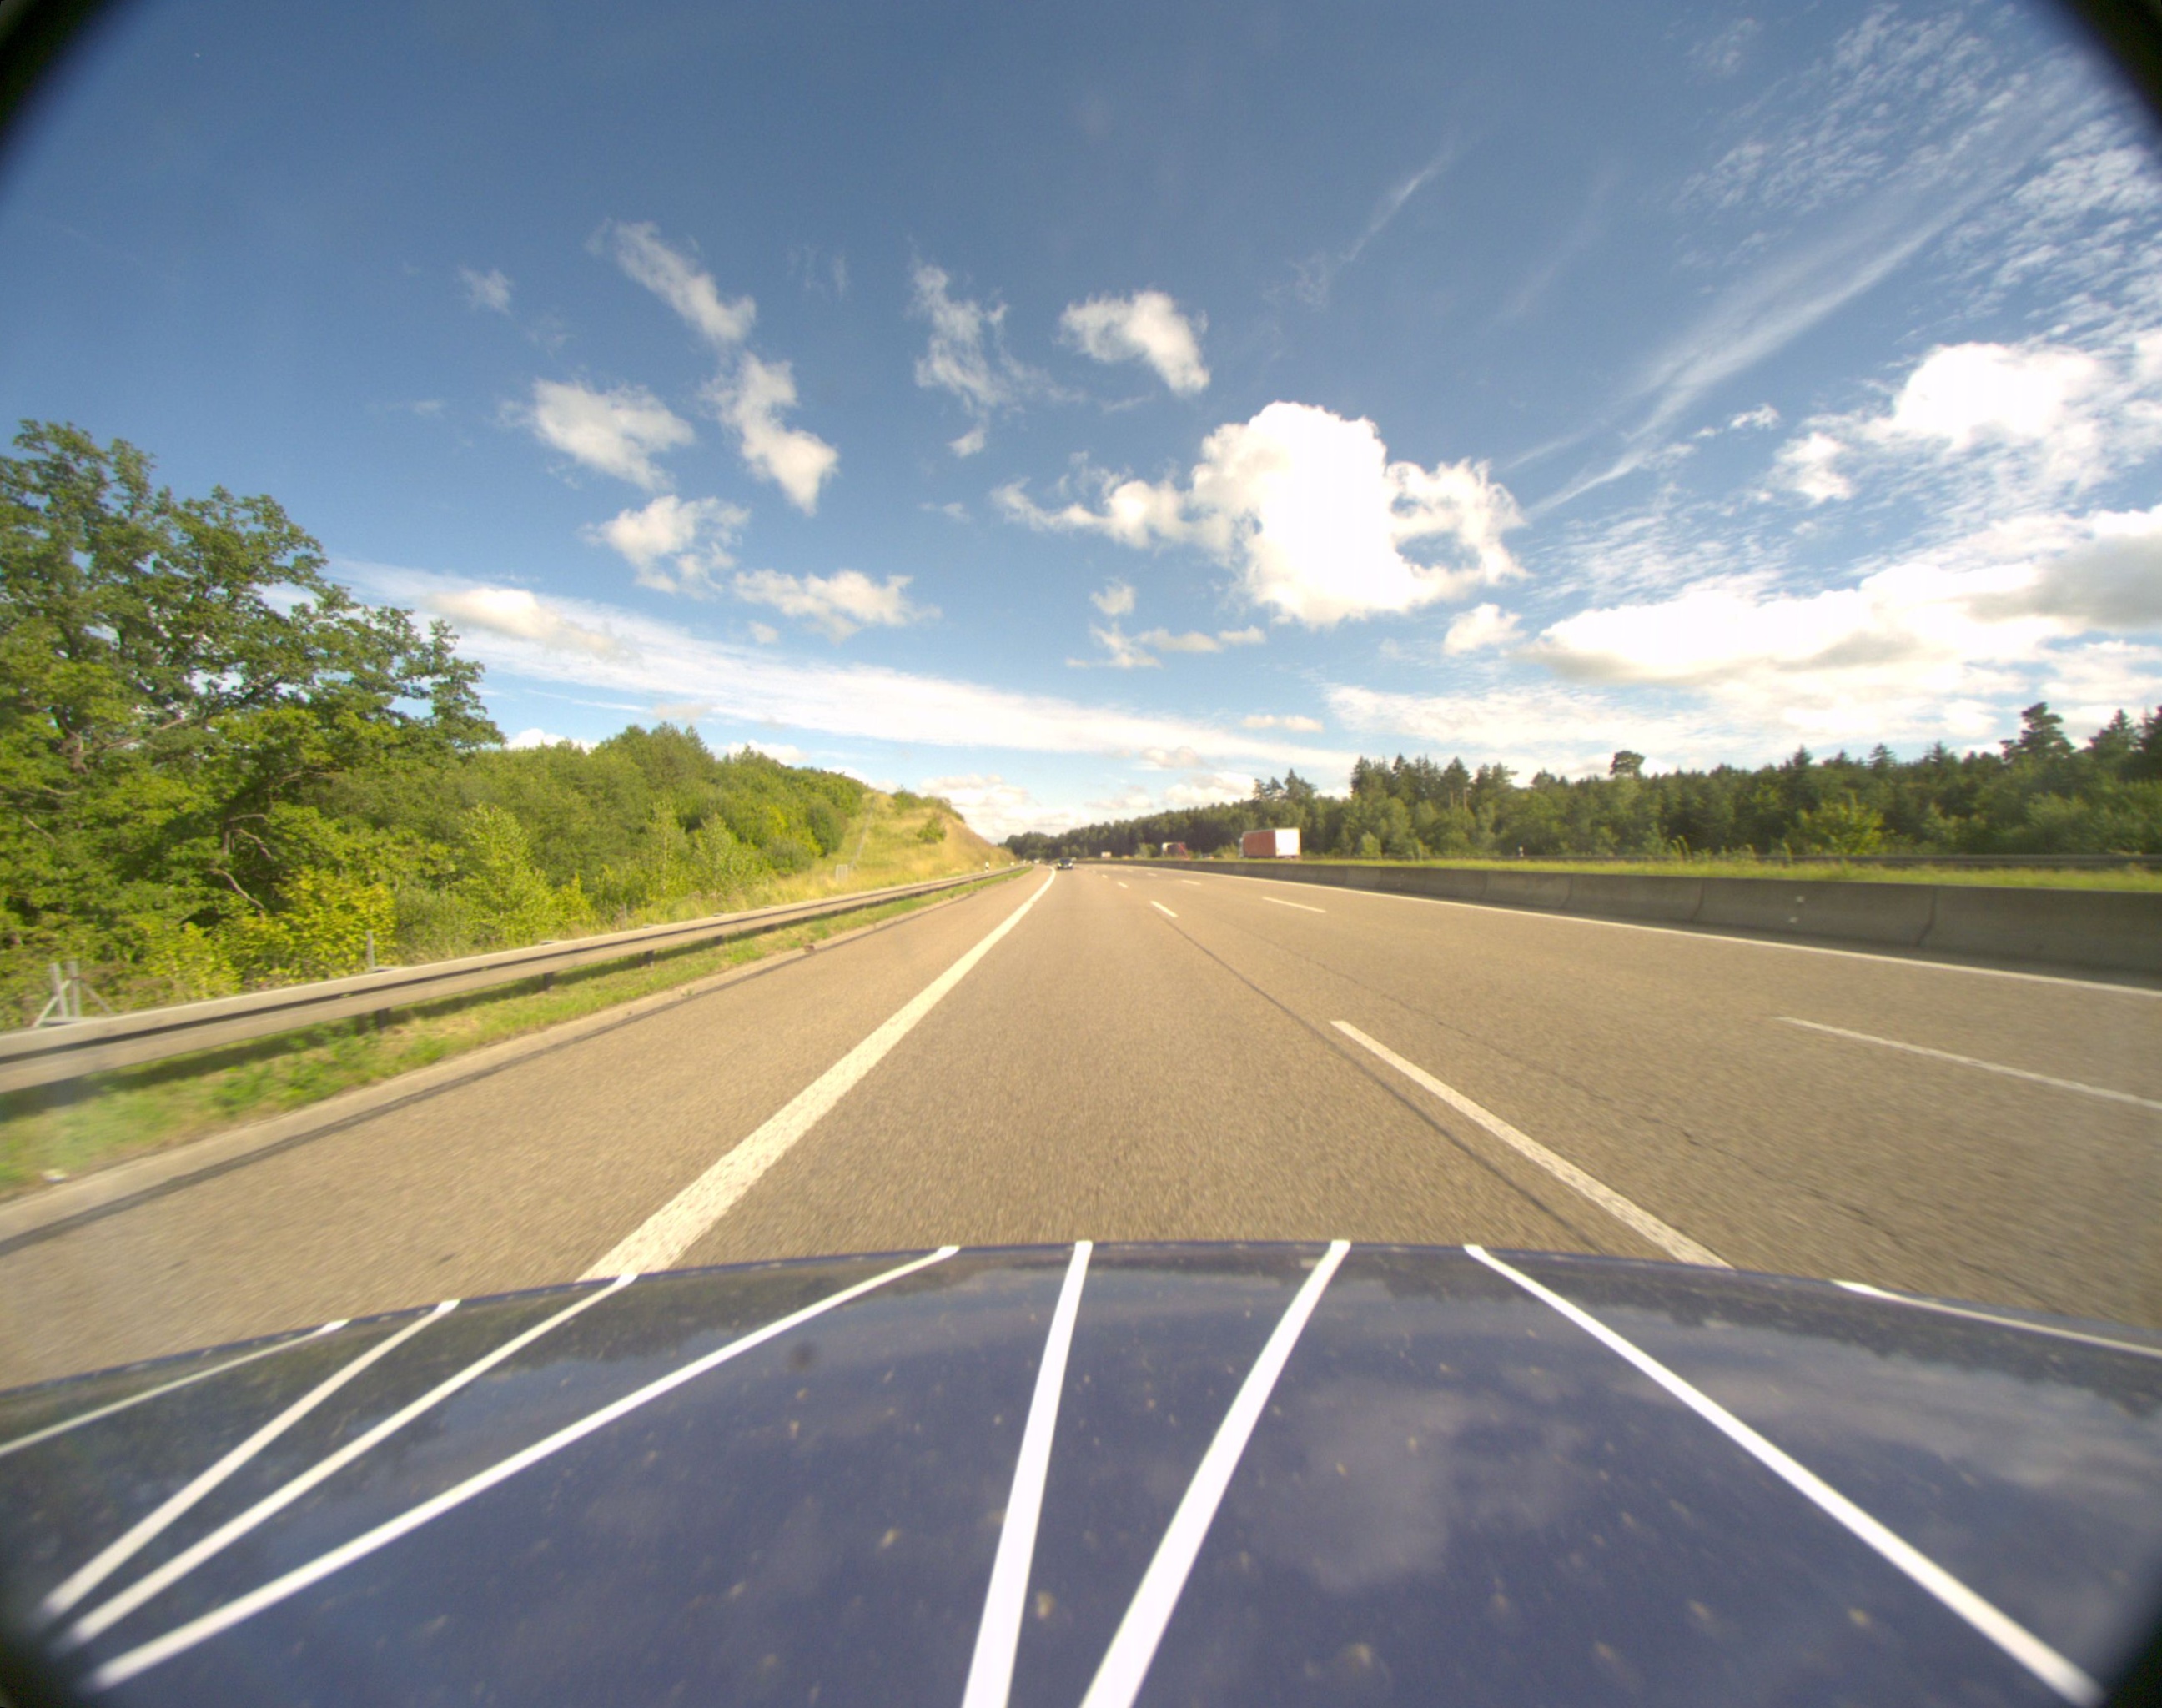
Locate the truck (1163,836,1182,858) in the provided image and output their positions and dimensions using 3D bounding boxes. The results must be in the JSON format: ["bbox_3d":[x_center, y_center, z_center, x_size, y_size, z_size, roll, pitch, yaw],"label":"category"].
[{"bbox_3d":[18.880,-1.510,157.278,2.810,4.366,5.463,-2,0,-2],"label":"truck"}]

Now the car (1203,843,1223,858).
[{"bbox_3d":[18.415,-0.538,106.119,1.999,2.002,3.999,-2,0,-1],"label":"car"}]

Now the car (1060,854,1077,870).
[{"bbox_3d":[-1.534,0.953,92.963,1.999,1.827,3.998,-2,1,-3],"label":"car"}]

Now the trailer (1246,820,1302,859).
[{"bbox_3d":[22.164,-1.590,88.097,3.029,4.085,12.789,-2,0,-1],"label":"trailer"}]

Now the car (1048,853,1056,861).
[{"bbox_3d":[-7.542,0.713,197.086,1.999,2.002,3.998,-3,1,-5],"label":"car"}]

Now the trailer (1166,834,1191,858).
[{"bbox_3d":[19.187,-1.512,149.757,2.810,4.366,12.047,-2,0,-2],"label":"trailer"}]

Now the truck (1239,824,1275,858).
[{"bbox_3d":[22.087,-1.626,95.657,3.032,4.085,5.667,-2,0,-1],"label":"truck"}]
